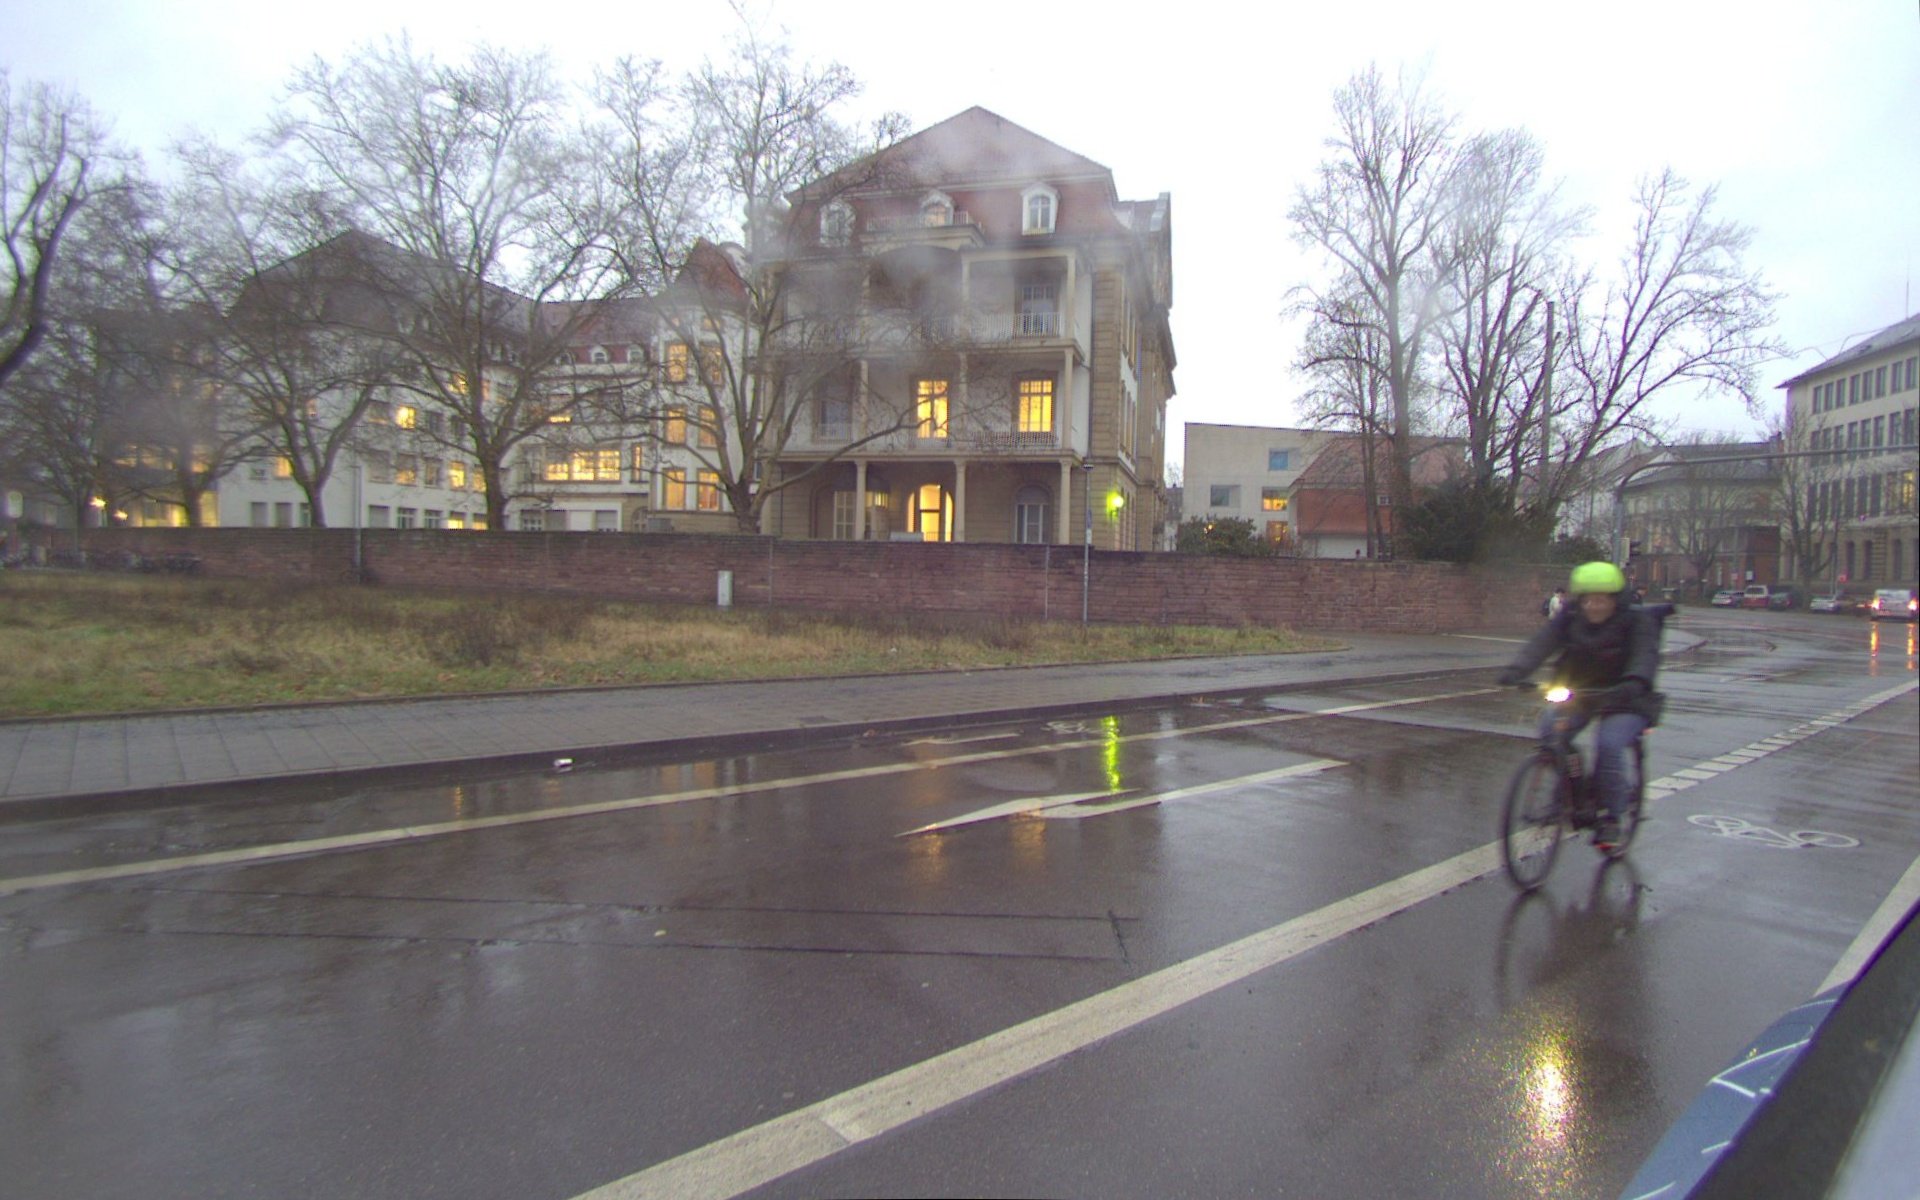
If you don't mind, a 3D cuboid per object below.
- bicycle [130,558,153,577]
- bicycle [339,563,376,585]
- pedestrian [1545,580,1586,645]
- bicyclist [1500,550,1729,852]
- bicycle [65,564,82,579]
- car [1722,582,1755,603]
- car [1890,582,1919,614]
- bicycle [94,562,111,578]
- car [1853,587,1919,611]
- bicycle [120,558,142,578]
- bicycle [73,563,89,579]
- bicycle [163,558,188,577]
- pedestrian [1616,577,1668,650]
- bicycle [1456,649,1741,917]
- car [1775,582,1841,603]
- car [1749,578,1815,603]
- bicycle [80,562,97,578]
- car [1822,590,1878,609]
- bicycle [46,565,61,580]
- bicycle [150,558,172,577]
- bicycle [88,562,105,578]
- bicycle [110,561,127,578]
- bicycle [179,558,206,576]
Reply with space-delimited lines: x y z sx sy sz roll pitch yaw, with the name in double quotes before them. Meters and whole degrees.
"bicycle" -38.627 -1.511 47.768 1.519 0.869 0.389 0 0 33
"bicycle" -23.385 -0.991 39.272 1.366 0.835 0.392 0 0 14
"pedestrian" 16.832 0.339 28.143 0.796 1.744 0.664 4 3 42
"bicyclist" 3.627 0.483 5.598 1.114 1.471 0.784 0 0 -41
"bicycle" -47.896 -1.543 54.674 1.522 0.796 0.389 0 0 38
"car" 66.480 -0.636 86.389 1.992 1.690 3.940 0 1 42
"car" 57.071 -0.159 60.634 1.878 1.868 3.936 0 0 44
"bicycle" -43.131 -1.500 50.897 1.522 0.796 0.389 0 0 38
"car" 61.962 -0.054 67.007 3.927 1.570 1.800 0 0 4
"bicycle" -39.909 -1.544 48.722 1.519 0.928 0.389 0 0 33
"bicycle" -46.673 -1.540 53.720 1.522 0.796 0.389 0 0 38
"bicycle" -35.551 -1.473 45.860 1.519 0.796 0.389 0 0 33
"pedestrian" 18.787 0.359 27.886 0.662 1.924 0.998 0 3 -41
"bicycle" 3.499 0.866 5.473 1.923 1.088 0.784 -1 0 -41
"car" 64.699 -0.578 77.227 3.916 1.570 1.805 0 0 -13
"car" 64.980 -0.783 80.024 3.916 1.924 2.052 0 0 -13
"bicycle" -45.442 -1.537 52.742 1.522 0.796 0.389 0 0 38
"car" 63.602 -0.074 72.302 3.568 1.322 1.712 -1 0 -25
"bicycle" -51.609 -1.552 57.593 1.522 0.796 0.389 0 0 38
"bicycle" -37.031 -1.501 46.886 1.480 0.849 0.346 0 0 32
"bicycle" -44.179 -1.534 51.768 1.522 0.796 0.389 0 0 38
"bicycle" -41.474 -1.481 49.877 1.599 0.796 0.388 0 0 41
"bicycle" -34.211 -1.472 45.111 1.399 0.796 0.355 0 0 26
